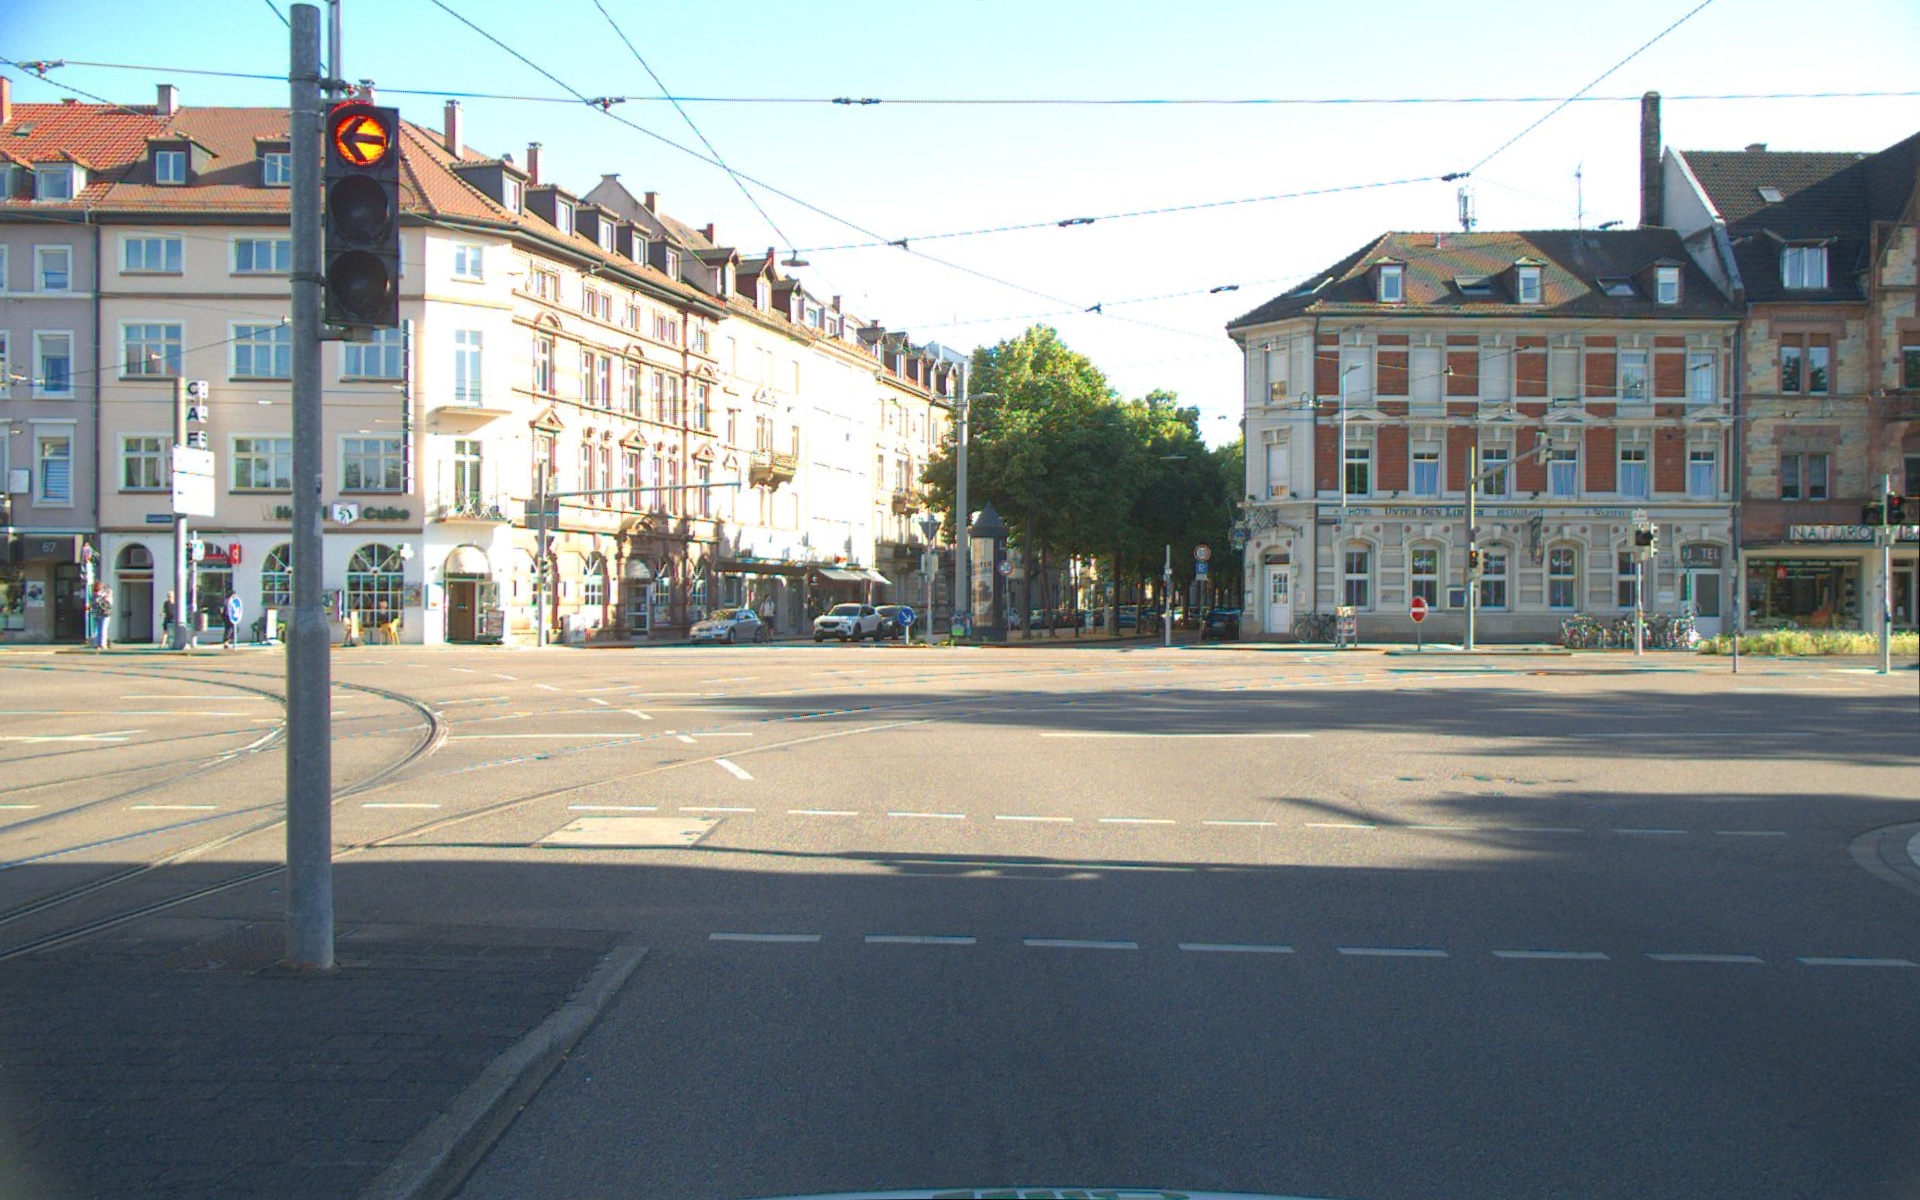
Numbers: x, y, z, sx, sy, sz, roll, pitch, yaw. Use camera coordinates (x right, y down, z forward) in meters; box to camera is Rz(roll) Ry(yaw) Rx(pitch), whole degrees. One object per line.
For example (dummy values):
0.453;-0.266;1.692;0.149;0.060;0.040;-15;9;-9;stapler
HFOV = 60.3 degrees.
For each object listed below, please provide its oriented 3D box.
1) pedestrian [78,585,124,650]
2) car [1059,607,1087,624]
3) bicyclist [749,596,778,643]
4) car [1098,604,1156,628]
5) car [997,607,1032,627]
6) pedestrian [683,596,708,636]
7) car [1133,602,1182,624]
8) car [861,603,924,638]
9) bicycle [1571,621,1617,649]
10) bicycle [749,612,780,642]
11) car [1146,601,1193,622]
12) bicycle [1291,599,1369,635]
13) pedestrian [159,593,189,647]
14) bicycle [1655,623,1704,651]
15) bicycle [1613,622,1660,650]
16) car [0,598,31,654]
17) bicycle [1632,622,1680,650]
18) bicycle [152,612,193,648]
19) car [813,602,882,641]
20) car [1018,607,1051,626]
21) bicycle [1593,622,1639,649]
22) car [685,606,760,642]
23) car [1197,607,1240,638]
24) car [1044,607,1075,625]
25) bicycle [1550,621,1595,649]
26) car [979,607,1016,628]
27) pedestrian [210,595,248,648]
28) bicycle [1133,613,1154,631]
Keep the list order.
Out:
-21.431;0.438;41.253;0.539;1.605;0.832;1;-1;27;pedestrian
9.308;1.261;135.891;1.642;1.378;3.593;0;0;16;car
-7.722;0.768;64.999;0.761;1.834;1.056;1;-1;13;bicyclist
11.706;1.125;115.829;3.819;1.677;1.684;0;0;16;car
3.813;1.166;115.510;1.642;1.378;3.593;0;0;16;car
-11.485;0.704;71.872;0.759;1.699;0.831;1;-1;15;pedestrian
15.311;0.970;128.242;3.503;1.677;1.684;0;0;16;car
-2.956;0.891;73.546;1.642;1.509;3.950;0;0;16;car
20.473;1.127;53.450;0.645;0.855;2.160;1;0;0;bicycle
-7.689;1.049;65.122;0.687;1.137;1.636;1;0;13;bicycle
16.933;0.896;133.742;3.503;1.677;1.684;0;0;16;car
12.859;0.594;57.453;2.504;1.194;0.818;1;-1;-4;bicycle
-24.676;0.625;51.921;0.570;1.699;0.752;1;-1;-1;pedestrian
23.272;1.175;53.523;0.645;0.855;2.160;1;0;0;bicycle
21.855;1.151;53.497;0.645;0.855;2.160;1;0;0;bicycle
-32.160;0.786;52.251;4.276;1.741;2.306;1;0;1;car
22.483;1.162;53.477;0.645;0.855;2.160;1;0;0;bicycle
-24.679;0.926;51.829;0.561;1.096;1.497;1;0;-1;bicycle
-4.543;0.846;67.222;1.642;1.509;3.774;0;0;16;car
5.524;1.230;122.497;1.642;1.378;3.593;0;0;16;car
21.185;1.139;53.464;0.645;0.855;2.160;1;0;0;bicycle
-9.548;0.935;66.740;1.642;1.378;3.593;0;0;16;car
12.950;1.113;82.744;1.642;1.509;3.950;0;0;16;car
7.883;1.224;130.839;1.642;1.378;3.593;0;0;16;car
19.753;1.114;53.363;0.645;0.855;2.160;1;0;0;bicycle
2.556;1.146;111.334;1.642;1.378;3.593;0;0;16;car
-22.263;0.645;50.351;0.715;1.605;0.828;0;-1;43;pedestrian
11.043;1.304;99.622;0.625;1.039;1.840;1;0;-14;bicycle
